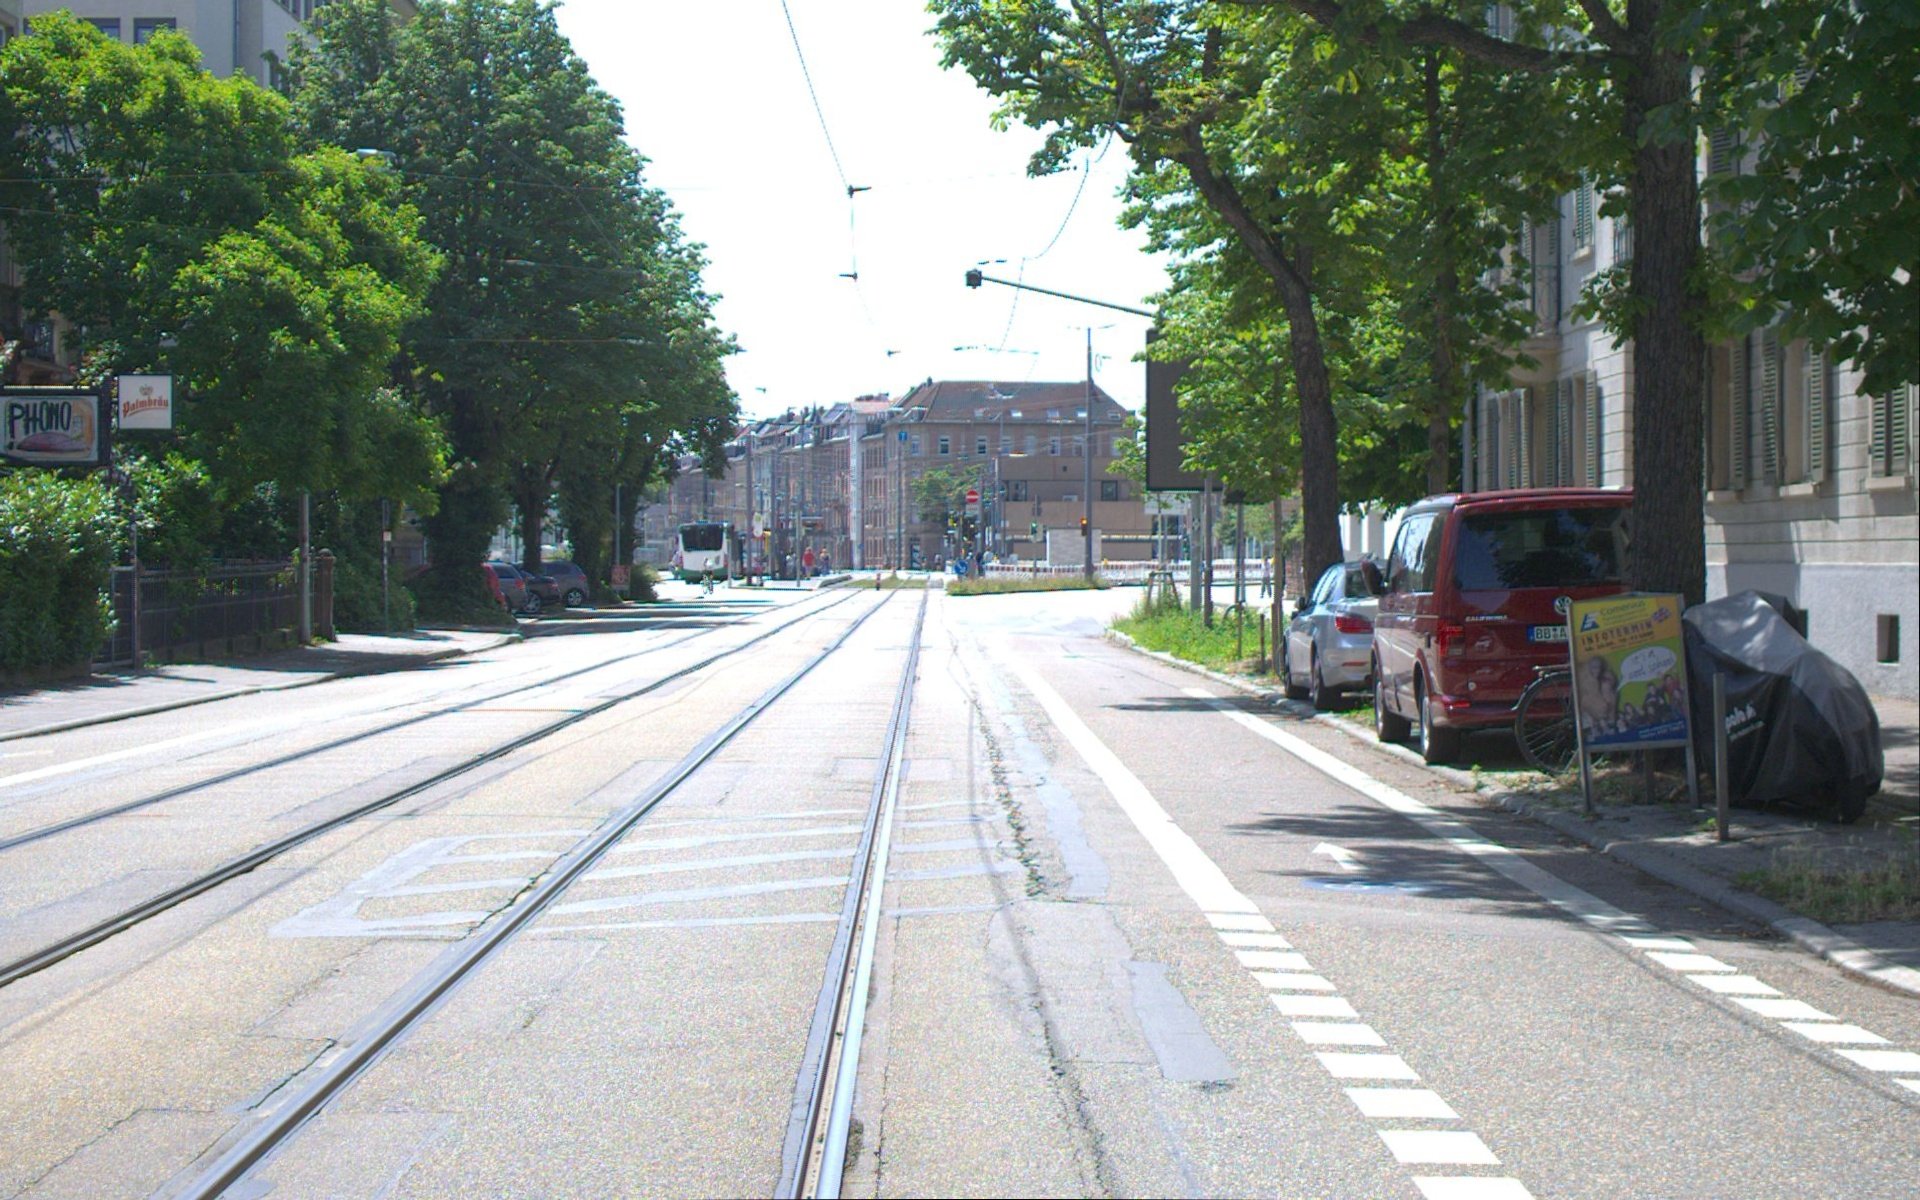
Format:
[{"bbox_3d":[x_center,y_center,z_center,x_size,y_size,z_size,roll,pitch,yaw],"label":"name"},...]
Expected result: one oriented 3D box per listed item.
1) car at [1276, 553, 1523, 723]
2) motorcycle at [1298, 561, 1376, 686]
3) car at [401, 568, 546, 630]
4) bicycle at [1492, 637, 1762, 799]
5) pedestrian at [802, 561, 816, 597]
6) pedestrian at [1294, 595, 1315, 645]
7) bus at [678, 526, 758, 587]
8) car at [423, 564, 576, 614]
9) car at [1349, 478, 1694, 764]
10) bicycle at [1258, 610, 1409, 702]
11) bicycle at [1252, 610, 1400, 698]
[{"bbox_3d":[4.336,0.382,34.601,1.859,1.572,4.877,1,-1,0],"label":"car"},{"bbox_3d":[4.692,0.268,42.640,0.745,1.501,2.557,0,1,11],"label":"motorcycle"},{"bbox_3d":[-12.587,-0.027,88.874,3.341,1.511,1.670,1,0,-26],"label":"car"},{"bbox_3d":[4.377,0.768,22.563,1.696,1.018,0.365,-1,0,-6],"label":"bicycle"},{"bbox_3d":[-7.833,-1.087,178.395,0.672,1.903,0.641,0,0,-10],"label":"pedestrian"},{"bbox_3d":[11.390,0.652,113.681,0.661,1.641,0.624,0,0,5],"label":"pedestrian"},{"bbox_3d":[-13.103,-2.366,187.751,3.010,3.147,17.498,0,1,0],"label":"bus"},{"bbox_3d":[-12.882,-0.320,96.271,3.920,1.369,1.670,0,1,-26],"label":"car"},{"bbox_3d":[4.260,0.134,26.832,1.859,2.007,4.976,1,0,0],"label":"car"},{"bbox_3d":[4.214,0.628,38.776,1.658,1.012,0.371,0,0,1],"label":"bicycle"},{"bbox_3d":[4.198,0.617,39.430,1.658,1.012,0.371,0,-1,1],"label":"bicycle"}]
